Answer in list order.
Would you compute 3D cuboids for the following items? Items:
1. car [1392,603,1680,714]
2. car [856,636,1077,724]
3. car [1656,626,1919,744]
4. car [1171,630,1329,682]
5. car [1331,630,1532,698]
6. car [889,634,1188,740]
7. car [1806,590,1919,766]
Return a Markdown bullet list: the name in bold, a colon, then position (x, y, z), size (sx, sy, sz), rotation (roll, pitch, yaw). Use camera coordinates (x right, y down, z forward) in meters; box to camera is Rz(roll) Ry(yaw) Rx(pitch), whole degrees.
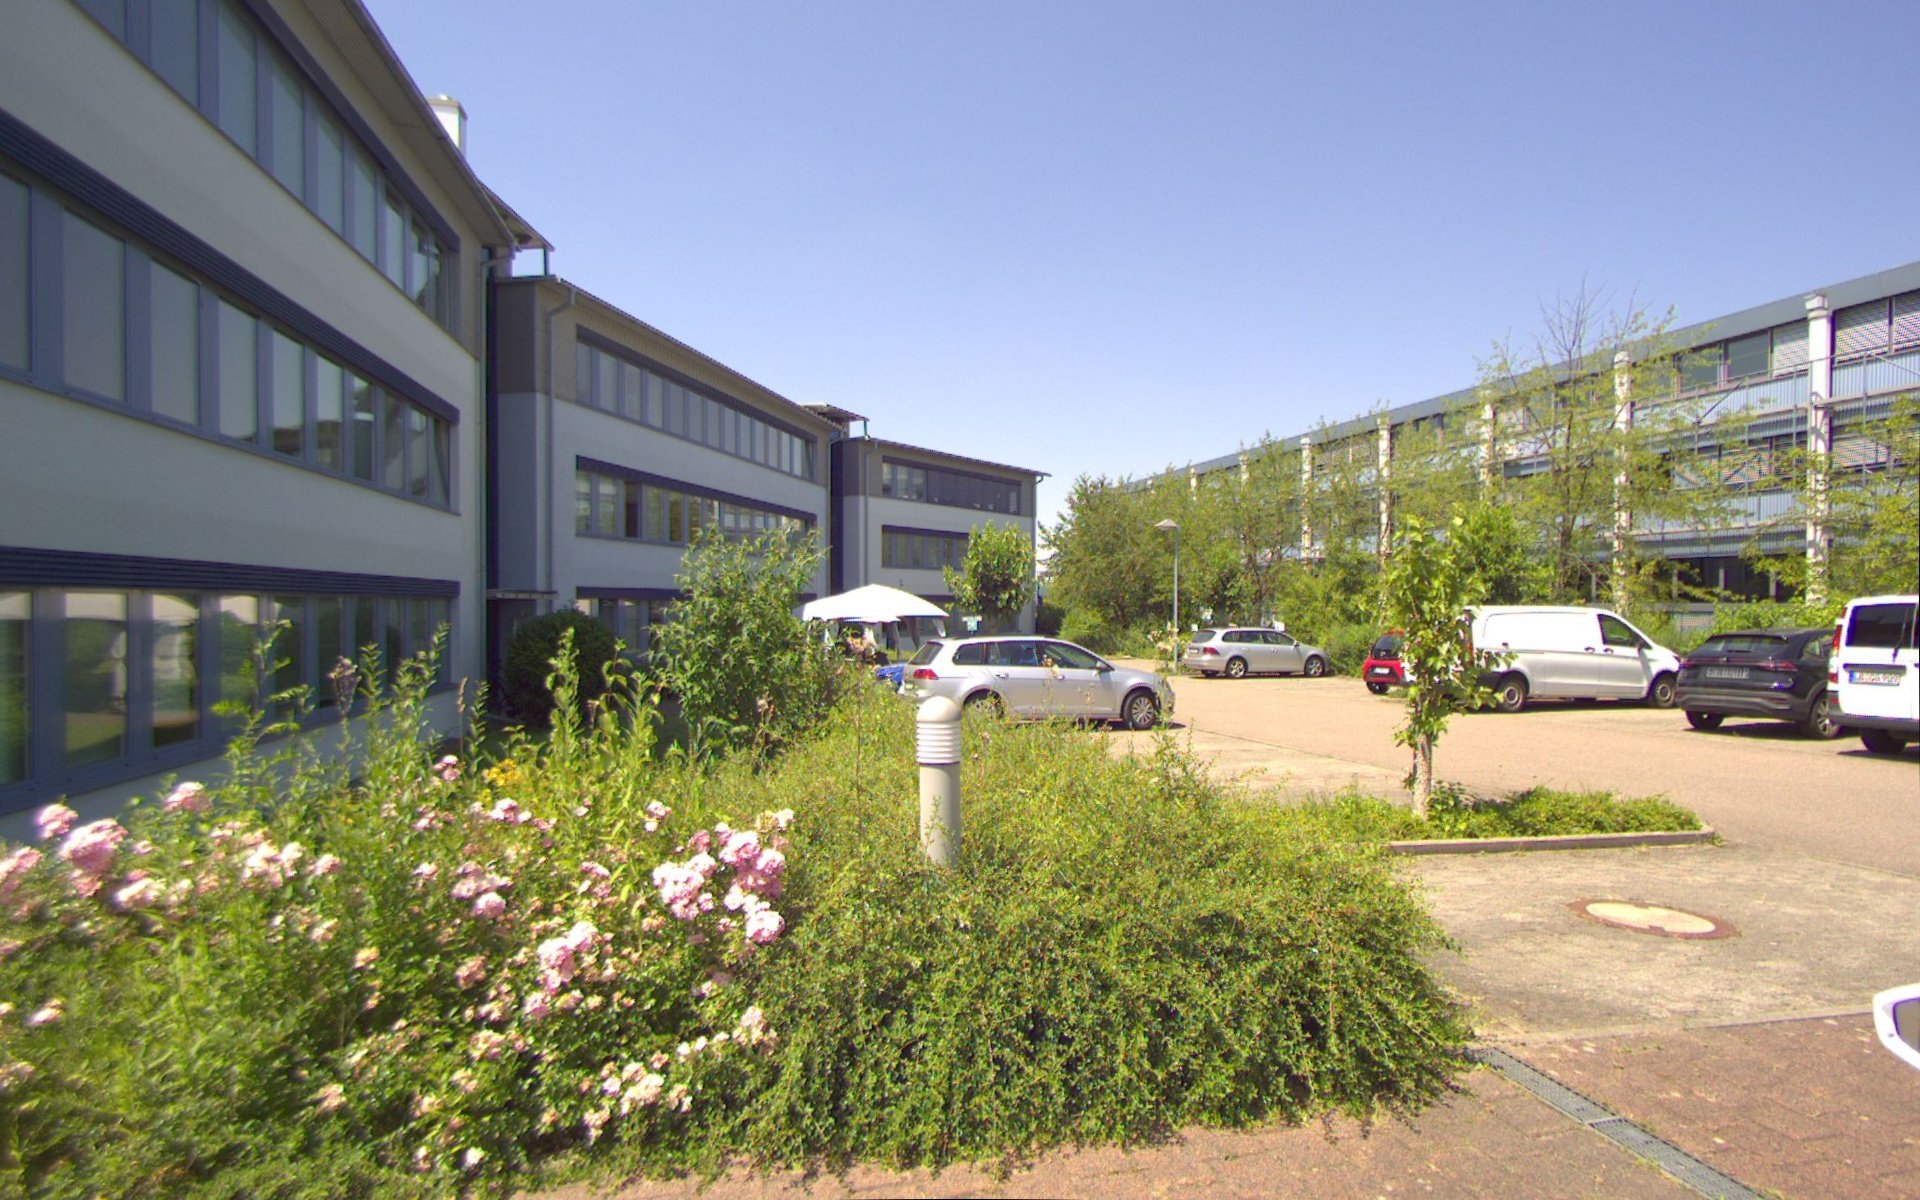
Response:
- **car**: position (10.801, 1.034, 18.905), size (4.722, 1.916, 1.883), rotation (0, -1, -14)
- **car**: position (0.065, 1.487, 19.444), size (3.930, 1.481, 1.995), rotation (-1, -1, -13)
- **car**: position (12.383, 1.156, 14.800), size (3.945, 1.496, 1.749), rotation (0, -1, -25)
- **car**: position (8.554, 1.614, 29.747), size (4.098, 1.425, 1.869), rotation (0, -1, -13)
- **car**: position (10.774, 1.415, 23.055), size (3.931, 1.460, 1.784), rotation (0, -1, -13)
- **car**: position (1.209, 1.313, 16.047), size (4.410, 1.492, 1.857), rotation (0, -1, -16)
- **car**: position (12.775, 0.858, 11.918), size (4.730, 1.930, 1.913), rotation (0, -1, -17)
